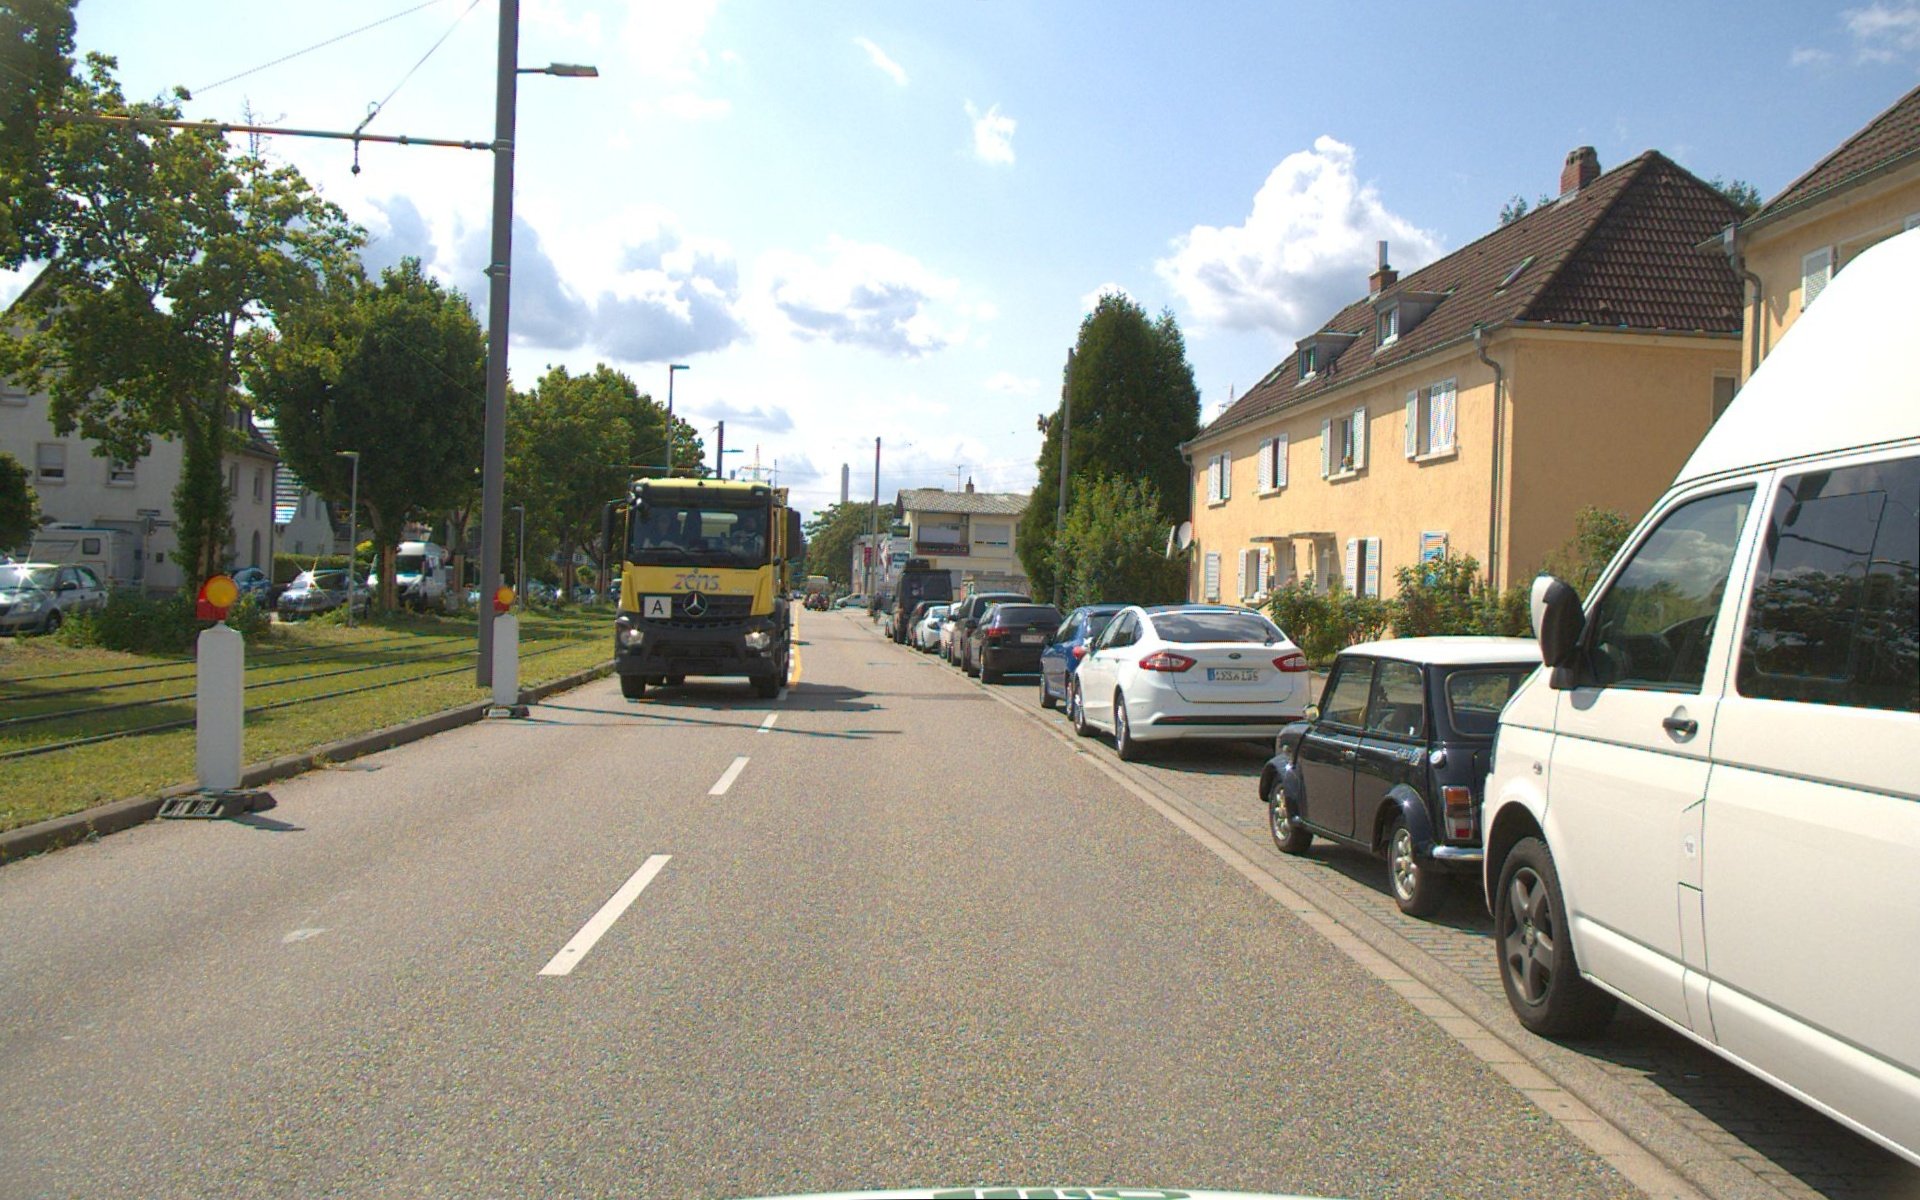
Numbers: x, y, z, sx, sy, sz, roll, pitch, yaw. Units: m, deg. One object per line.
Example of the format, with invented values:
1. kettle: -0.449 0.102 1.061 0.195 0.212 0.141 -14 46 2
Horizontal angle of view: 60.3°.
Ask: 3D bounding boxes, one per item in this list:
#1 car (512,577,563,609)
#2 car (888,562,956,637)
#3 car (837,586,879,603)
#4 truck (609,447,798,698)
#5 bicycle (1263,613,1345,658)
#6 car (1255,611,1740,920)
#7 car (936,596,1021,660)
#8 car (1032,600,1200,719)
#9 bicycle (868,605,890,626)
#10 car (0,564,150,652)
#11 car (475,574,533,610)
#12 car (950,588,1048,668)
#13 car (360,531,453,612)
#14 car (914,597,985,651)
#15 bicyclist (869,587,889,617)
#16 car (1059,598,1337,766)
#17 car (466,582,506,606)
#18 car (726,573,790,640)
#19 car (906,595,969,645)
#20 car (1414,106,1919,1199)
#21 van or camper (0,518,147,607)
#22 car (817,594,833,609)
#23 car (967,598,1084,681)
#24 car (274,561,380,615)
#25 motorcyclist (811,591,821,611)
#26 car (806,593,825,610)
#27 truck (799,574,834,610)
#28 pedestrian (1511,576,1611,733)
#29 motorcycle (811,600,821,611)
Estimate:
1. car: -21.782 -0.352 85.365 1.842 1.580 4.392 1 0 -6
2. car: -1.410 -0.042 58.739 1.922 2.522 6.052 0 0 -6
3. car: -11.631 -0.619 188.870 4.558 1.854 1.831 2 0 -11
4. truck: -3.958 -0.409 26.854 2.509 3.520 7.143 0 0 -5
5. bicycle: 7.962 0.818 38.268 1.825 0.972 0.366 2 0 -10
6. car: 2.734 0.767 9.109 1.315 1.364 3.284 2 -1 -6
7. car: 0.413 0.666 41.342 1.729 1.502 3.996 0 0 -5
8. car: 2.026 0.732 22.482 1.589 1.442 3.996 0 0 -5
9. bicycle: -4.431 0.852 90.273 0.976 1.067 2.807 2 0 -8
10. car: -17.007 0.121 30.956 1.694 1.531 4.564 0 0 -4
11. car: -21.056 -0.357 76.528 1.842 1.580 4.373 1 0 -6
12. car: 0.811 0.570 36.448 1.729 1.672 3.996 0 0 -5
13. car: -20.038 -1.005 60.164 2.035 2.769 6.988 0 0 -9
14. car: -0.336 0.662 47.524 1.729 1.465 3.996 0 0 -5
15. bicyclist: -4.414 0.130 90.307 0.976 1.597 1.138 2 0 -8
16. car: 2.275 0.741 17.124 1.764 1.483 4.759 0 0 -6
17. car: -32.567 -0.398 113.636 1.842 1.580 4.392 1 0 -6
18. car: -6.365 0.176 51.918 1.892 1.993 5.367 0 0 -8
19. car: -0.766 0.605 52.681 1.729 1.529 3.996 0 0 -5
20. car: 2.941 0.227 4.225 1.890 2.524 5.516 1 0 -2
21. van or camper: -34.625 -1.435 62.218 6.748 3.180 2.440 1 0 -6
22. car: -14.734 0.176 180.593 1.538 1.524 4.142 2 0 -7
23. car: 1.163 0.698 31.220 1.729 1.442 3.996 0 0 -5
24. car: -18.922 -0.358 49.630 1.694 1.531 4.564 0 0 -4
25. motorcyclist: -12.699 0.094 145.967 0.867 1.696 1.108 2 0 -6
26. car: -13.239 0.114 151.053 1.538 1.524 4.142 2 0 -7
27. truck: -14.645 -0.795 168.173 3.160 3.461 11.336 1 0 -7
28. pedestrian: 6.673 0.595 18.394 0.836 1.681 0.637 2 0 0
29. motorcycle: -12.732 0.471 146.219 0.867 0.940 2.613 2 0 -6
